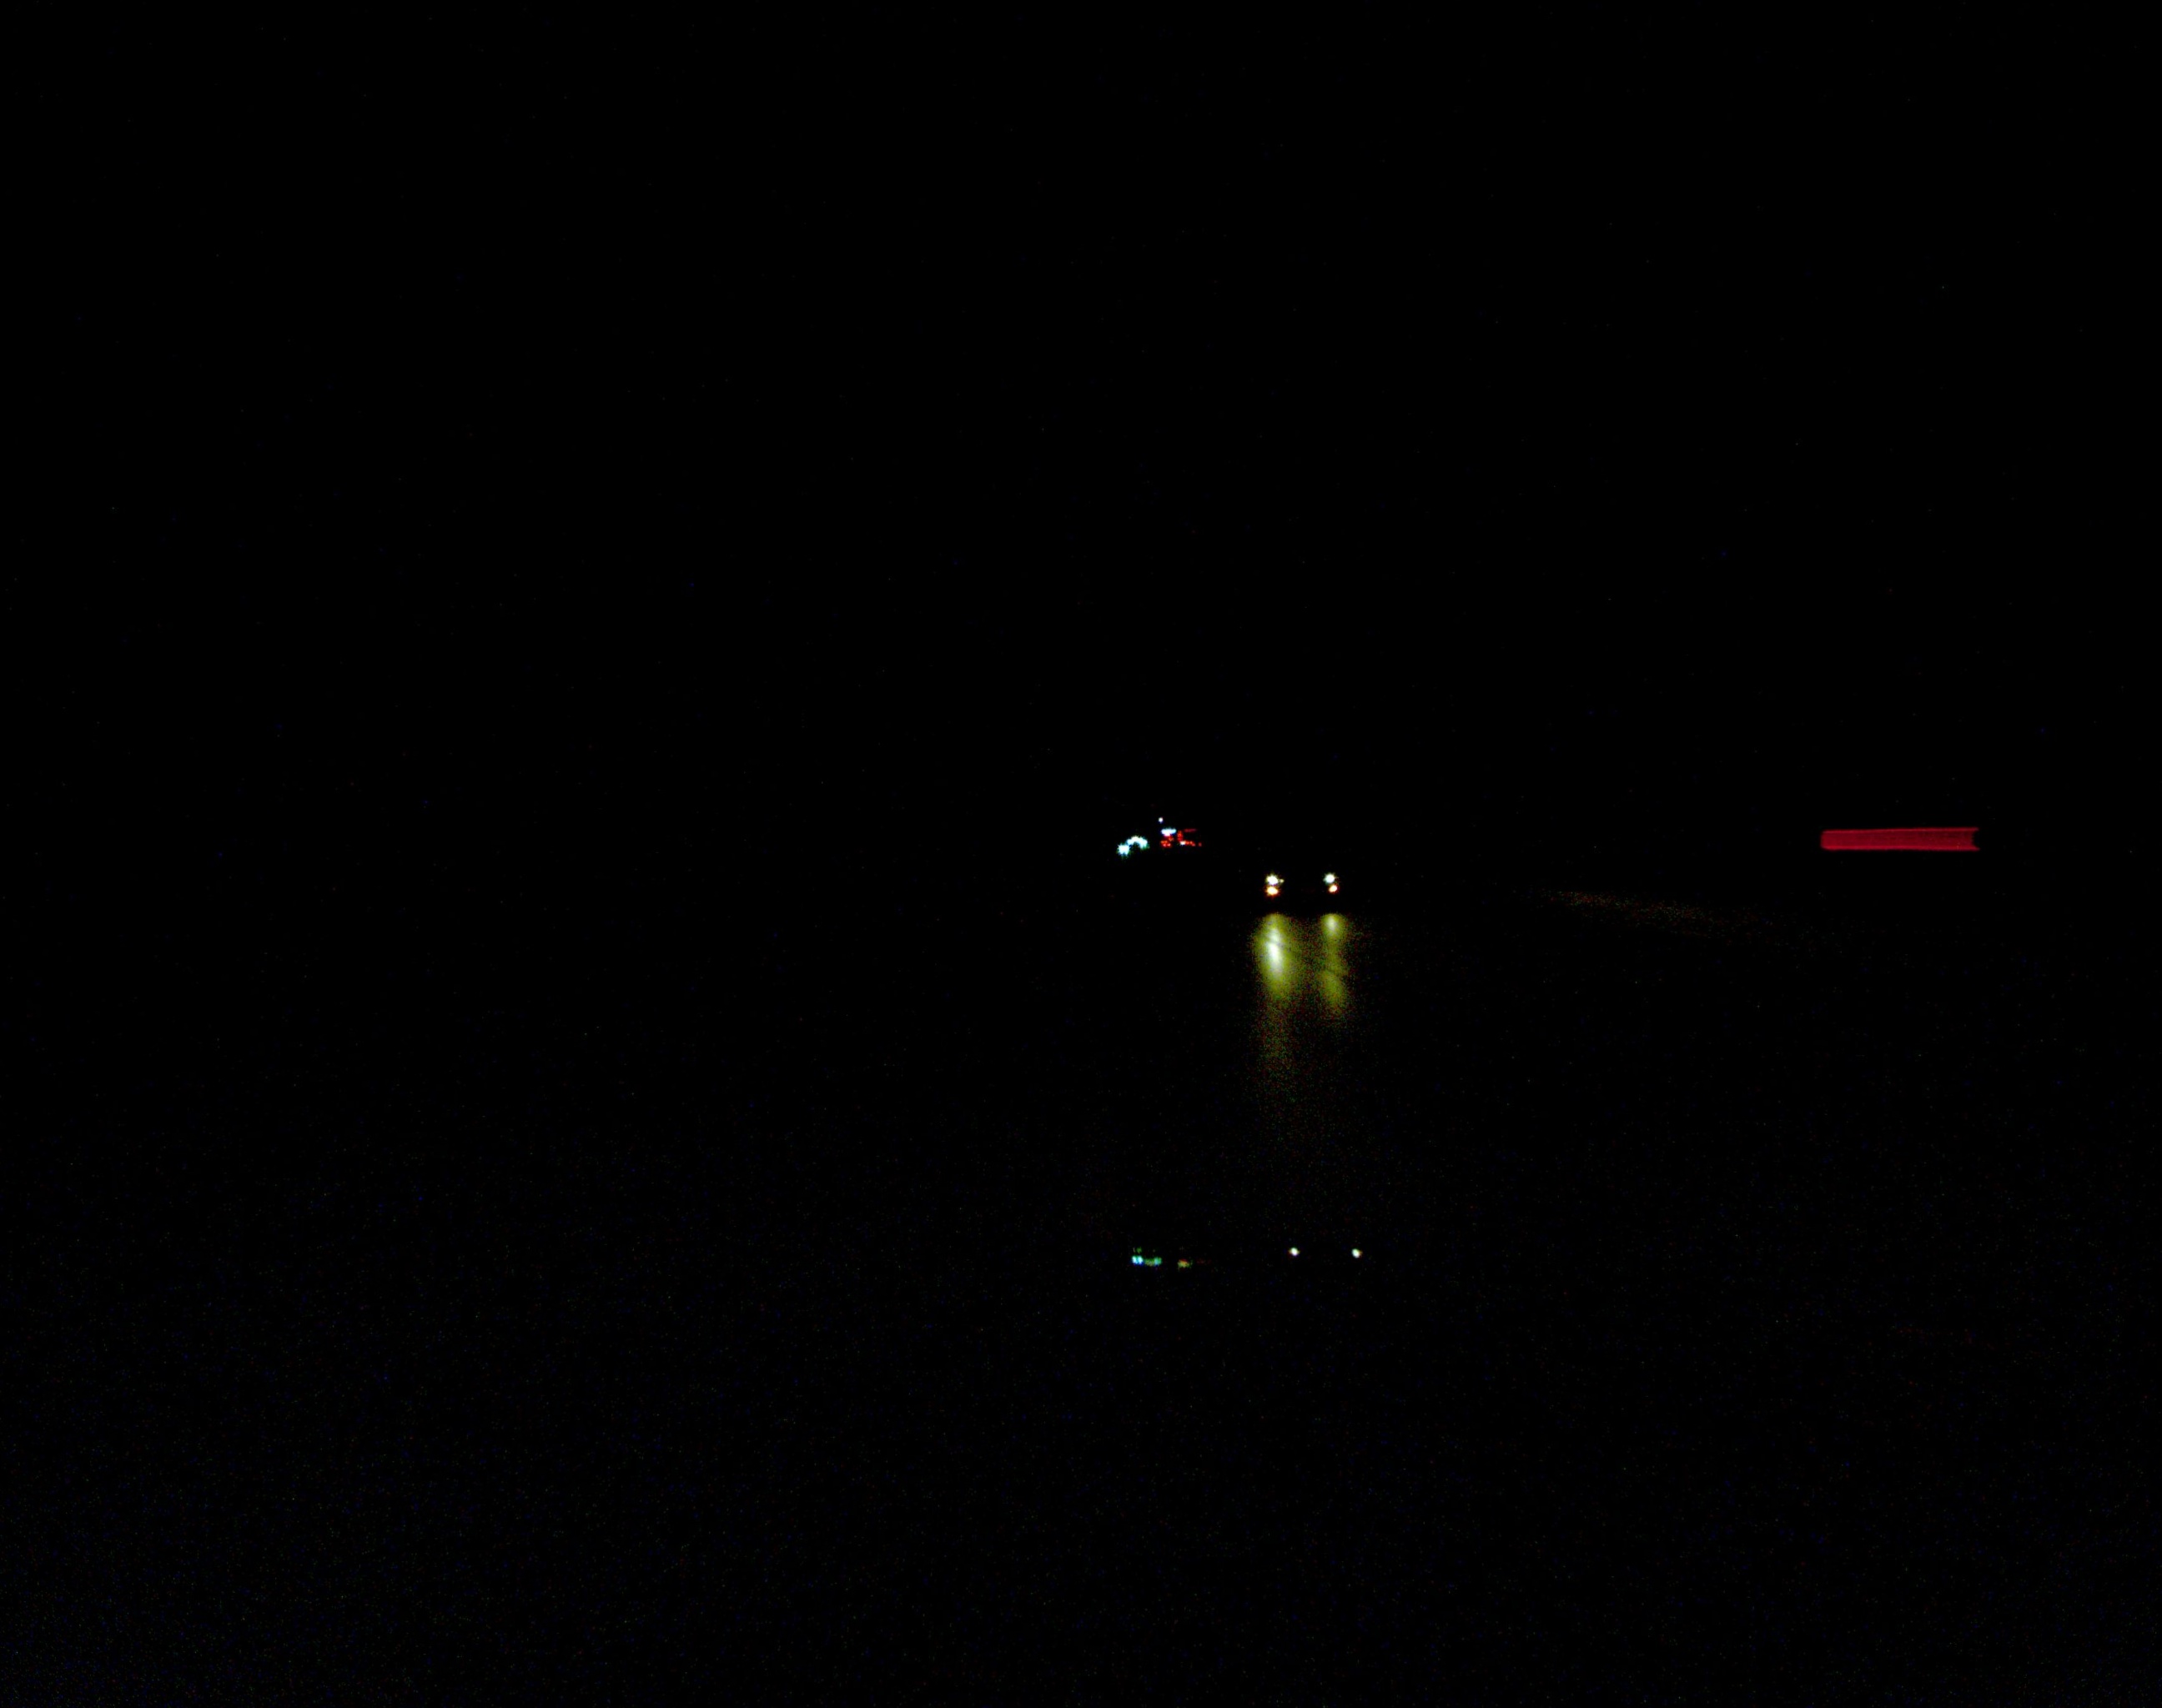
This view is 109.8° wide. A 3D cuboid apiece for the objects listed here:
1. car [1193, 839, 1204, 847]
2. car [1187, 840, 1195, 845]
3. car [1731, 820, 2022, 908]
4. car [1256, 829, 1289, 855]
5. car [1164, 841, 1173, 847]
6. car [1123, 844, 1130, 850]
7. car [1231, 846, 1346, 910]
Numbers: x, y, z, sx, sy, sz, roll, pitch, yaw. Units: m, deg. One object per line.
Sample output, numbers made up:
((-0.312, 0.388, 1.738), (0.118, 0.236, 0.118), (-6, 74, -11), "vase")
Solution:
((31.071, -2.907, 200.980), (2.058, 1.771, 5.941), (-2, 1, 3), "car")
((36.476, -3.903, 252.349), (2.123, 1.547, 5.109), (-2, 1, 3), "car")
((17.762, 0.133, 17.395), (1.827, 1.684, 4.672), (-2, 2, 1), "car")
((24.573, -1.448, 97.737), (2.657, 3.067, 8.217), (-2, 0, 4), "car")
((26.343, -3.090, 228.997), (2.565, 1.547, 5.109), (-2, 1, 3), "car")
((12.995, -2.105, 216.397), (1.998, 1.653, 3.999), (-2, 2, 2), "car")
((5.697, 0.639, 21.672), (1.998, 1.509, 5.653), (-2, -1, 3), "car")
